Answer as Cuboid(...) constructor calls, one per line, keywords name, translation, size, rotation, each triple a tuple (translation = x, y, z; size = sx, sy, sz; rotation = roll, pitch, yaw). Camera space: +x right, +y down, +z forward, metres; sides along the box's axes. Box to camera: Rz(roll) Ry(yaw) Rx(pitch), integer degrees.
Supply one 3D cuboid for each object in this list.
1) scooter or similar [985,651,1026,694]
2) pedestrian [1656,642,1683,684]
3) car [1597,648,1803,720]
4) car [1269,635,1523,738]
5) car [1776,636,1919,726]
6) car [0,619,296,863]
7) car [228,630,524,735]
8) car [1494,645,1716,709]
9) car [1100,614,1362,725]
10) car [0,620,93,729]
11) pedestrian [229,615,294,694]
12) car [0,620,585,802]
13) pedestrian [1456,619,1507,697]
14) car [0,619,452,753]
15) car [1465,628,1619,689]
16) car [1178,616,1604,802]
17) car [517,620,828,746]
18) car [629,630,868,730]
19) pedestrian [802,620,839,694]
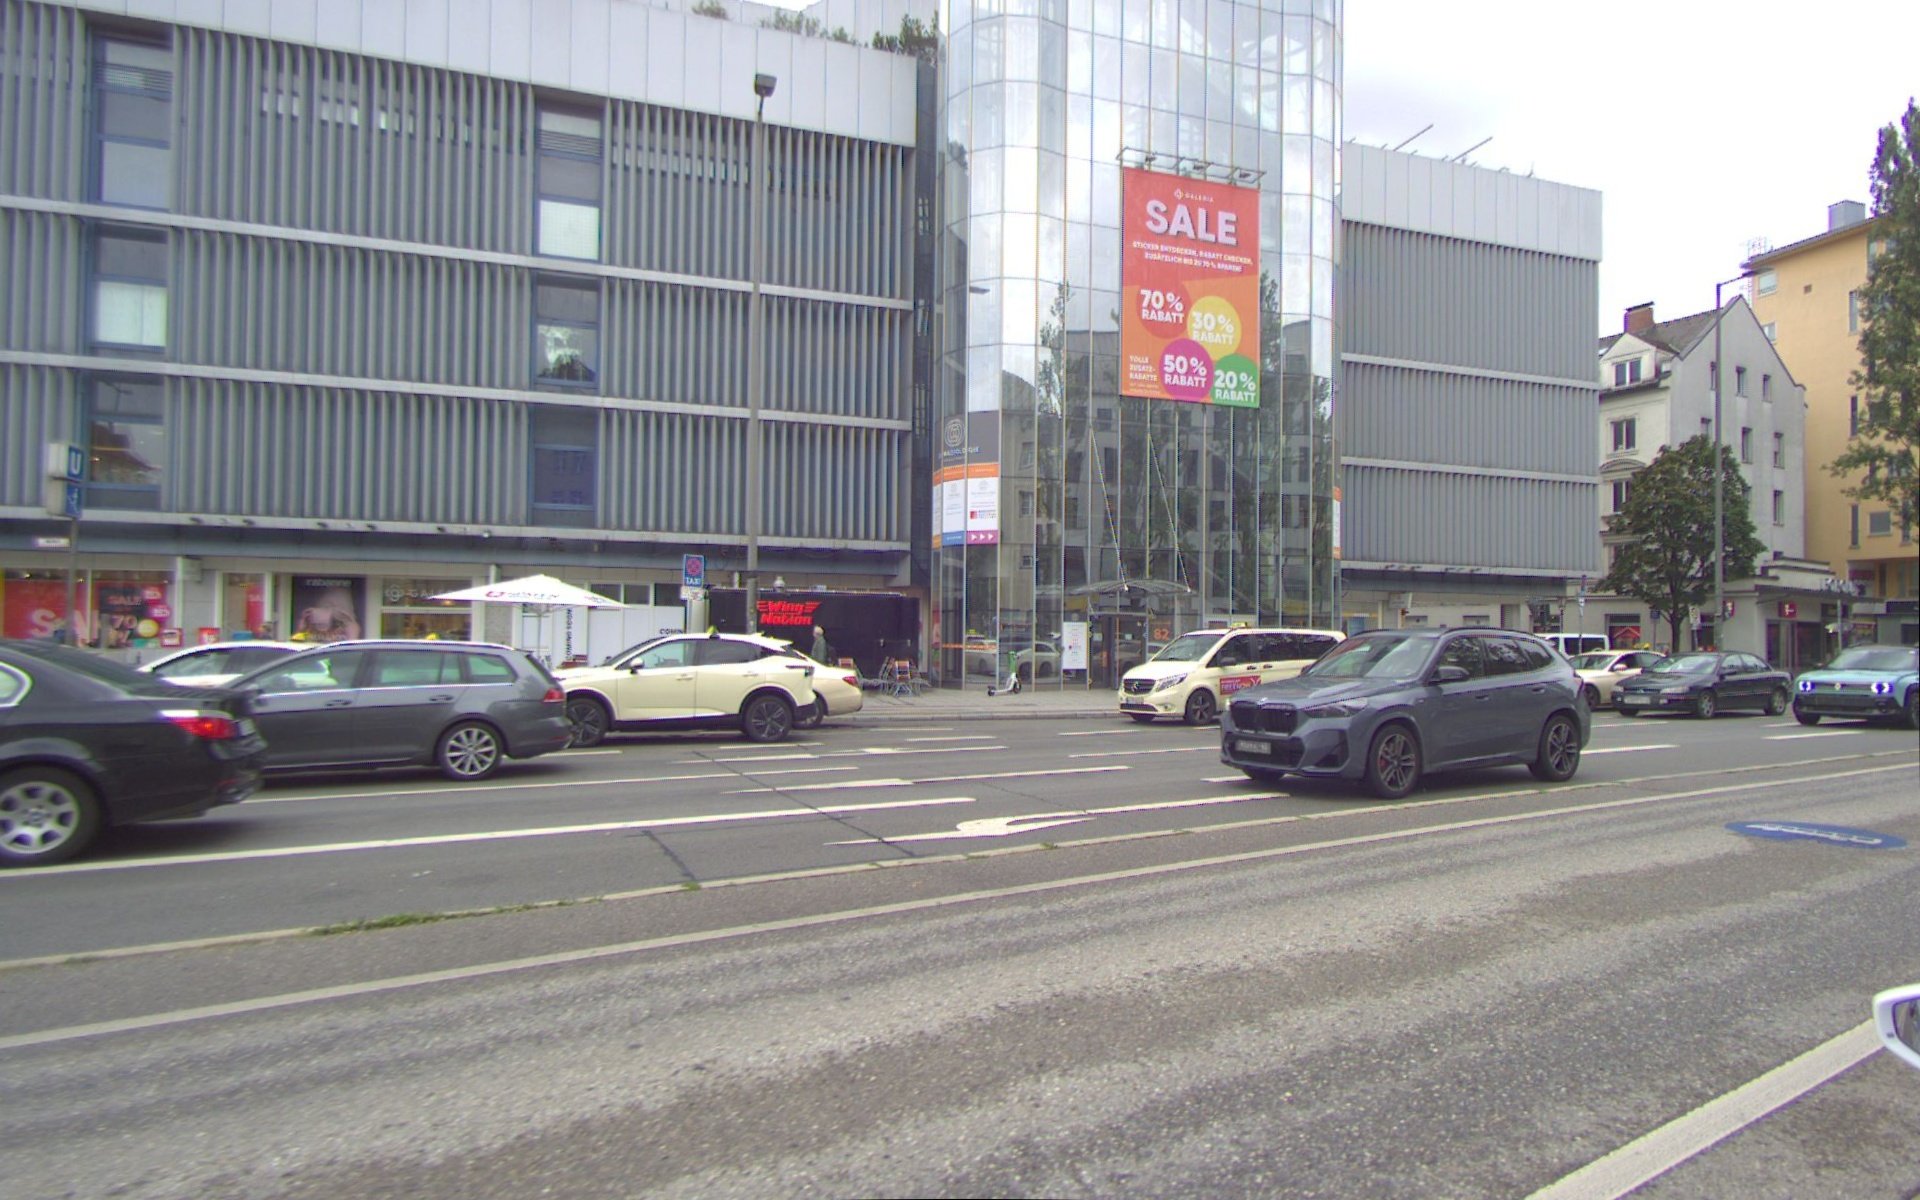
Cuboid(name="scooter or similar", translation=(1.257, 1.984, 27.737), size=(0.362, 1.155, 1.375), rotation=(-1, -2, 40))
Cuboid(name="pedestrian", translation=(25.818, 2.276, 36.571), size=(0.647, 1.514, 0.543), rotation=(1, -2, -26))
Cuboid(name="car", translation=(16.380, 1.793, 22.195), size=(4.625, 1.427, 1.724), rotation=(1, -2, -26))
Cuboid(name="car", translation=(7.760, 1.457, 17.834), size=(4.237, 1.621, 1.985), rotation=(2, -2, -29))
Cuboid(name="car", translation=(17.819, 1.526, 19.379), size=(3.950, 1.565, 1.811), rotation=(2, -4, -28))
Cuboid(name="car", translation=(-7.245, 0.876, 6.528), size=(4.675, 1.506, 1.829), rotation=(1, -2, -28))
Cuboid(name="car", translation=(-9.387, 1.299, 16.546), size=(3.942, 1.557, 1.749), rotation=(1, -2, -22))
Cuboid(name="car", translation=(15.975, 1.890, 24.909), size=(4.900, 1.488, 1.857), rotation=(1, -4, -16))
Cuboid(name="car", translation=(5.605, 1.397, 20.616), size=(5.254, 2.040, 1.986), rotation=(2, -3, -28))
Cuboid(name="car", translation=(-15.661, 1.079, 14.826), size=(3.950, 1.587, 1.899), rotation=(1, -2, -28))
Cuboid(name="pedestrian", translation=(-14.283, 1.103, 20.560), size=(0.885, 1.566, 0.731), rotation=(1, -2, -17))
Cuboid(name="car", translation=(-6.713, 1.044, 10.647), size=(4.889, 1.566, 1.951), rotation=(2, -3, -30))
Cuboid(name="pedestrian", translation=(12.929, 1.434, 24.920), size=(0.835, 1.891, 0.784), rotation=(1, -2, -24))
Cuboid(name="car", translation=(-9.598, 1.072, 13.437), size=(4.775, 1.561, 1.943), rotation=(1, -2, -21))
Cuboid(name="car", translation=(20.385, 2.020, 35.188), size=(5.037, 2.040, 1.990), rotation=(1, -2, -22))
Cuboid(name="car", translation=(4.697, 1.069, 10.866), size=(4.359, 1.642, 1.985), rotation=(2, -3, -29))
Cuboid(name="car", translation=(-4.342, 1.227, 15.412), size=(4.315, 1.720, 1.884), rotation=(1, -3, -20))
Cuboid(name="car", translation=(-3.799, 1.391, 18.005), size=(3.941, 1.637, 1.769), rotation=(1, -2, -22))
Cuboid(name="pedestrian", translation=(-3.530, 1.440, 25.415), size=(0.805, 1.829, 0.788), rotation=(1, -2, -18))
